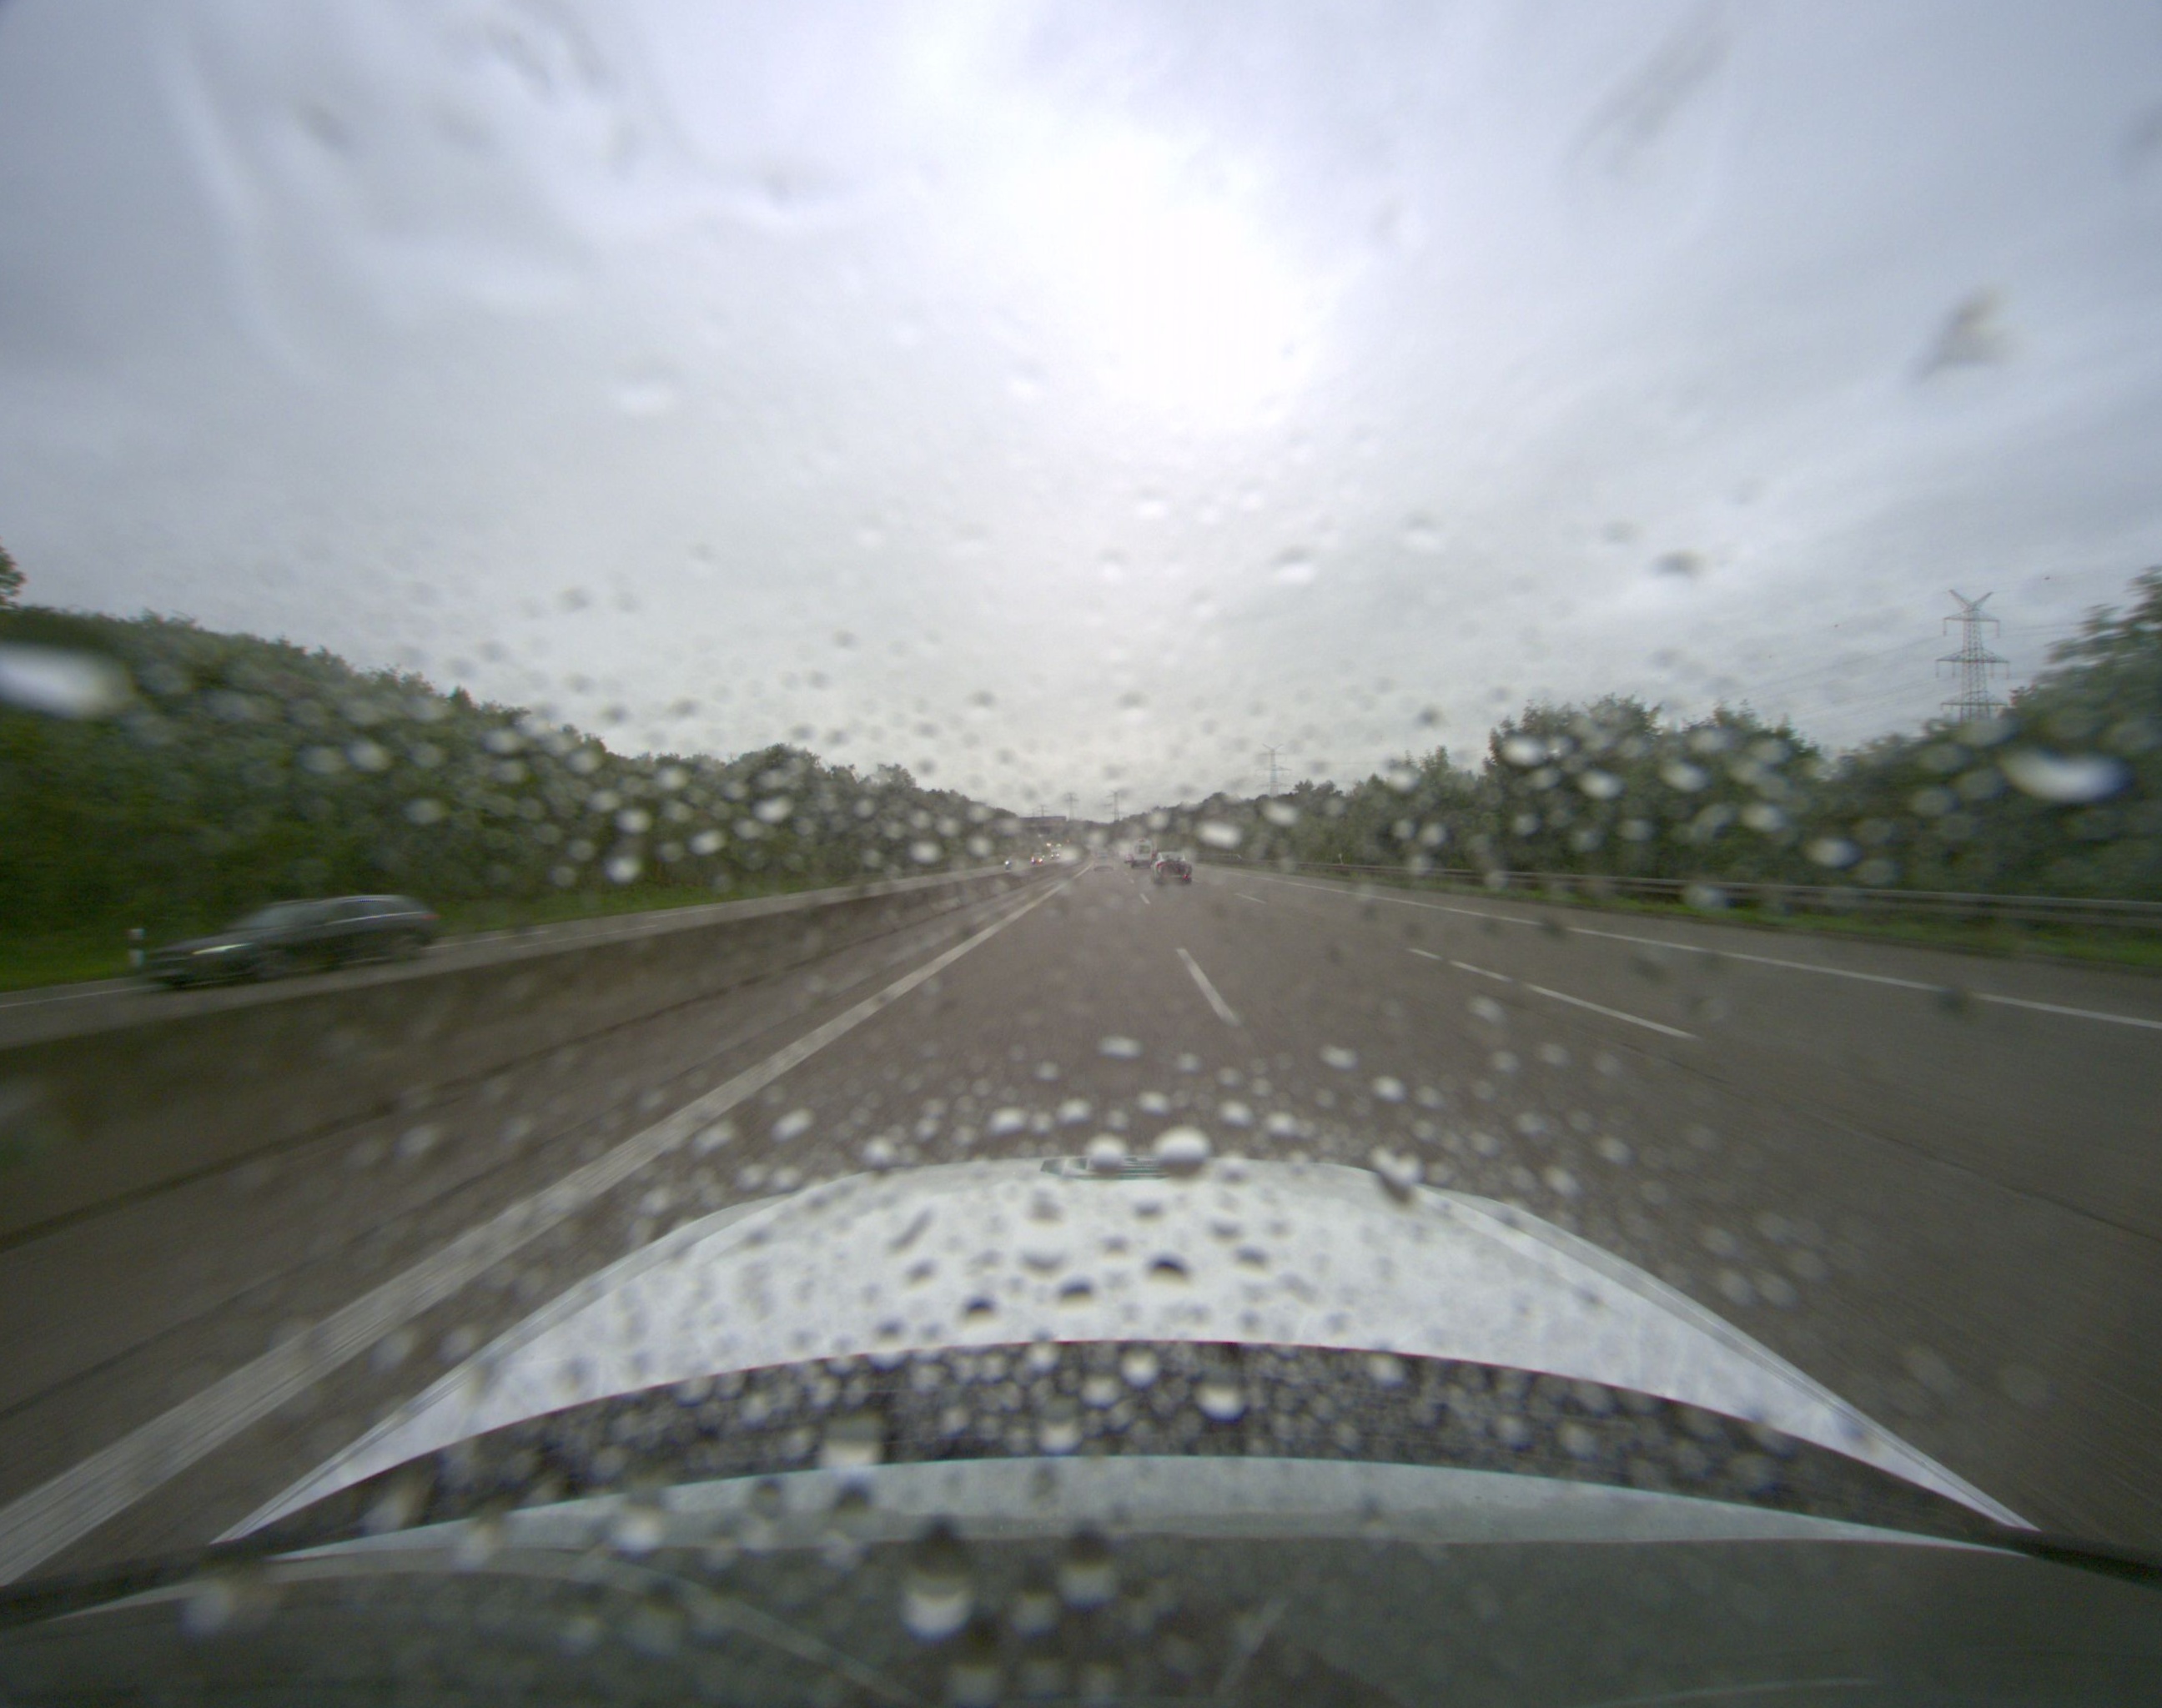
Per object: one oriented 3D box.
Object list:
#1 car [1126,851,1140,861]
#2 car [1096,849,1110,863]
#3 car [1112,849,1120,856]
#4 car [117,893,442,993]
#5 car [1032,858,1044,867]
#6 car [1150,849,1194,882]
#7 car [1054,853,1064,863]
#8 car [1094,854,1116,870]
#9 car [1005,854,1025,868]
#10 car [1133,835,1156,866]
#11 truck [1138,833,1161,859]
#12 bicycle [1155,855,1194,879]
[{"bbox_3d":[7.302,0.271,114.922,1.850,1.422,4.002,-1,1,2],"label":"car"},{"bbox_3d":[2.996,0.318,109.901,1.839,1.772,4.001,0,-1,1],"label":"car"},{"bbox_3d":[9.070,-0.331,212.860,1.986,1.574,4.001,-3,0,1],"label":"car"},{"bbox_3d":[-15.220,1.608,15.923,1.792,1.384,4.470,-3,0,2],"label":"car"},{"bbox_3d":[-7.214,1.386,137.391,1.628,1.412,4.370,-2,0,3],"label":"car"},{"bbox_3d":[4.614,0.536,41.921,1.853,1.568,4.965,-1,0,1],"label":"car"},{"bbox_3d":[-5.580,1.069,207.048,2.272,2.331,6.167,-2,0,-3],"label":"car"},{"bbox_3d":[2.181,0.725,74.145,1.860,1.288,4.001,-2,0,1],"label":"car"},{"bbox_3d":[-8.469,0.843,105.076,1.986,1.688,4.918,-3,0,2],"label":"car"},{"bbox_3d":[6.259,-0.342,81.092,1.985,2.864,4.003,-3,0,3],"label":"car"},{"bbox_3d":[12.111,-1.402,145.069,3.588,4.332,13.210,-2,0,3],"label":"truck"},{"bbox_3d":[4.459,0.613,38.978,1.747,1.090,0.914,-1,-1,1],"label":"bicycle"}]
